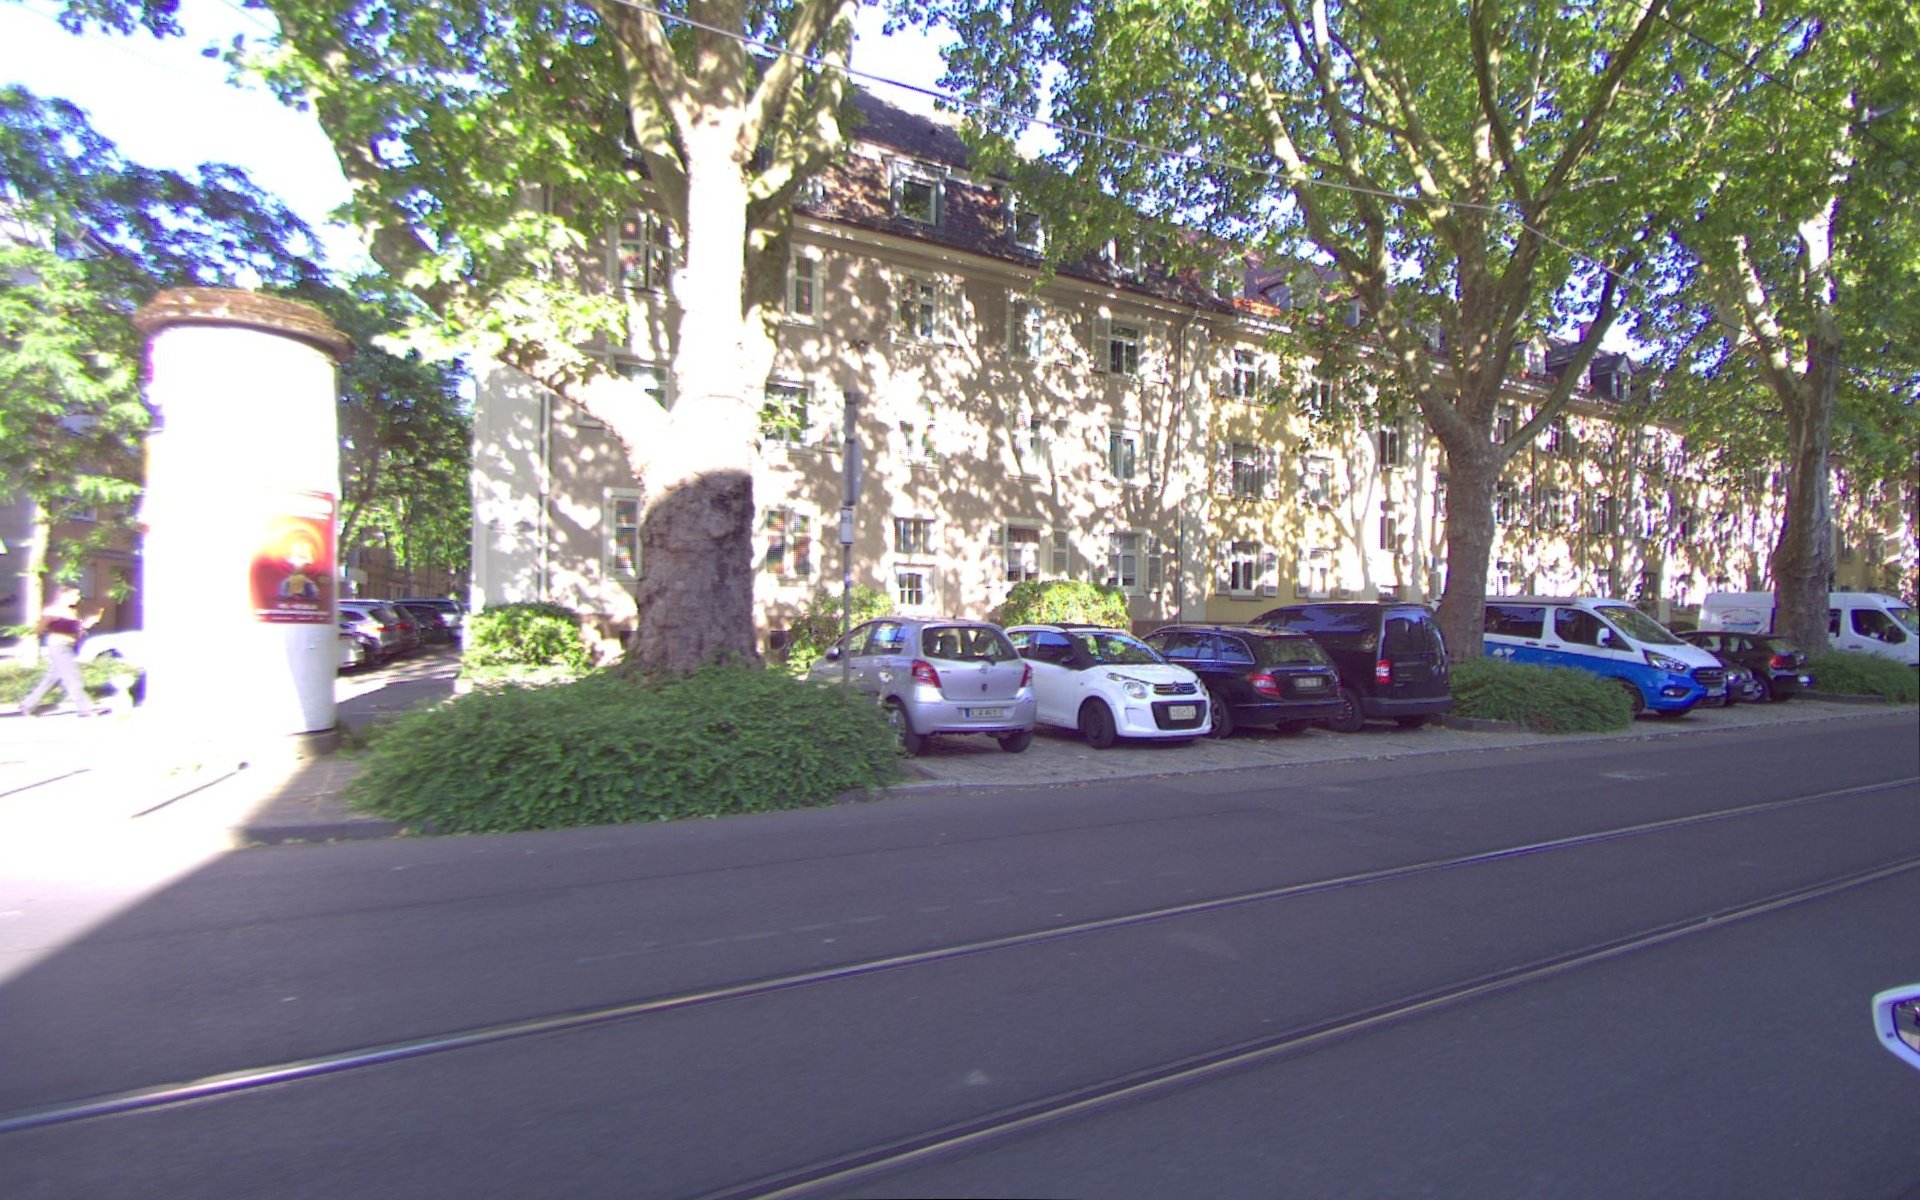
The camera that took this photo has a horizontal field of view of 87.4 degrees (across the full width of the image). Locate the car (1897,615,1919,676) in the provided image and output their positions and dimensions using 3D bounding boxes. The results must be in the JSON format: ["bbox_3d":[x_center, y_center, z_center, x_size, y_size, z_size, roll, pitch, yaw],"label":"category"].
[{"bbox_3d":[33.067,1.516,31.829,1.941,1.971,4.630,1,-1,-33],"label":"car"}]

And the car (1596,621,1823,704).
[{"bbox_3d":[16.222,1.292,21.933,1.592,1.586,3.669,1,-1,-27],"label":"car"}]

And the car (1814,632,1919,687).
[{"bbox_3d":[27.471,1.713,29.075,1.840,1.517,3.831,1,-2,-29],"label":"car"}]

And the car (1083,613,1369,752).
[{"bbox_3d":[3.627,1.041,14.240,1.781,1.646,3.659,1,-1,-34],"label":"car"}]

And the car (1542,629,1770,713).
[{"bbox_3d":[14.203,1.384,20.656,1.680,1.479,3.505,1,-1,-36],"label":"car"}]

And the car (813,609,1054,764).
[{"bbox_3d":[-0.484,0.914,12.306,1.680,1.574,3.672,1,-1,-24],"label":"car"}]

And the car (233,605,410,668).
[{"bbox_3d":[-15.060,0.863,23.880,3.299,1.409,1.475,1,-1,-22],"label":"car"}]

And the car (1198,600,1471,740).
[{"bbox_3d":[5.546,0.945,15.280,1.684,1.839,3.665,1,-1,-30],"label":"car"}]

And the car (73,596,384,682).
[{"bbox_3d":[-13.933,0.746,19.478,4.543,1.516,1.699,1,-1,-23],"label":"car"}]

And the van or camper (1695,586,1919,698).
[{"bbox_3d":[22.048,0.994,25.156,2.414,2.549,5.368,1,-1,-28],"label":"van or camper"}]

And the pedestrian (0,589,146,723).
[{"bbox_3d":[-11.149,0.684,12.604,1.008,1.598,1.093,2,0,-12],"label":"pedestrian"}]

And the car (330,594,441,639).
[{"bbox_3d":[-20.825,0.603,36.548,3.299,1.539,1.475,1,-1,-22],"label":"car"}]

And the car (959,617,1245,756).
[{"bbox_3d":[1.739,1.015,13.278,1.686,1.505,3.656,1,-1,-36],"label":"car"}]

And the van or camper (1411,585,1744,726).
[{"bbox_3d":[11.106,0.903,18.456,2.097,2.219,4.791,1,-1,-33],"label":"van or camper"}]

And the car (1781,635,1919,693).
[{"bbox_3d":[24.147,1.637,25.945,1.732,1.417,4.246,1,-2,-29],"label":"car"}]

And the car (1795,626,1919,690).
[{"bbox_3d":[25.671,1.554,27.593,1.840,1.685,3.831,1,-2,-29],"label":"car"}]
